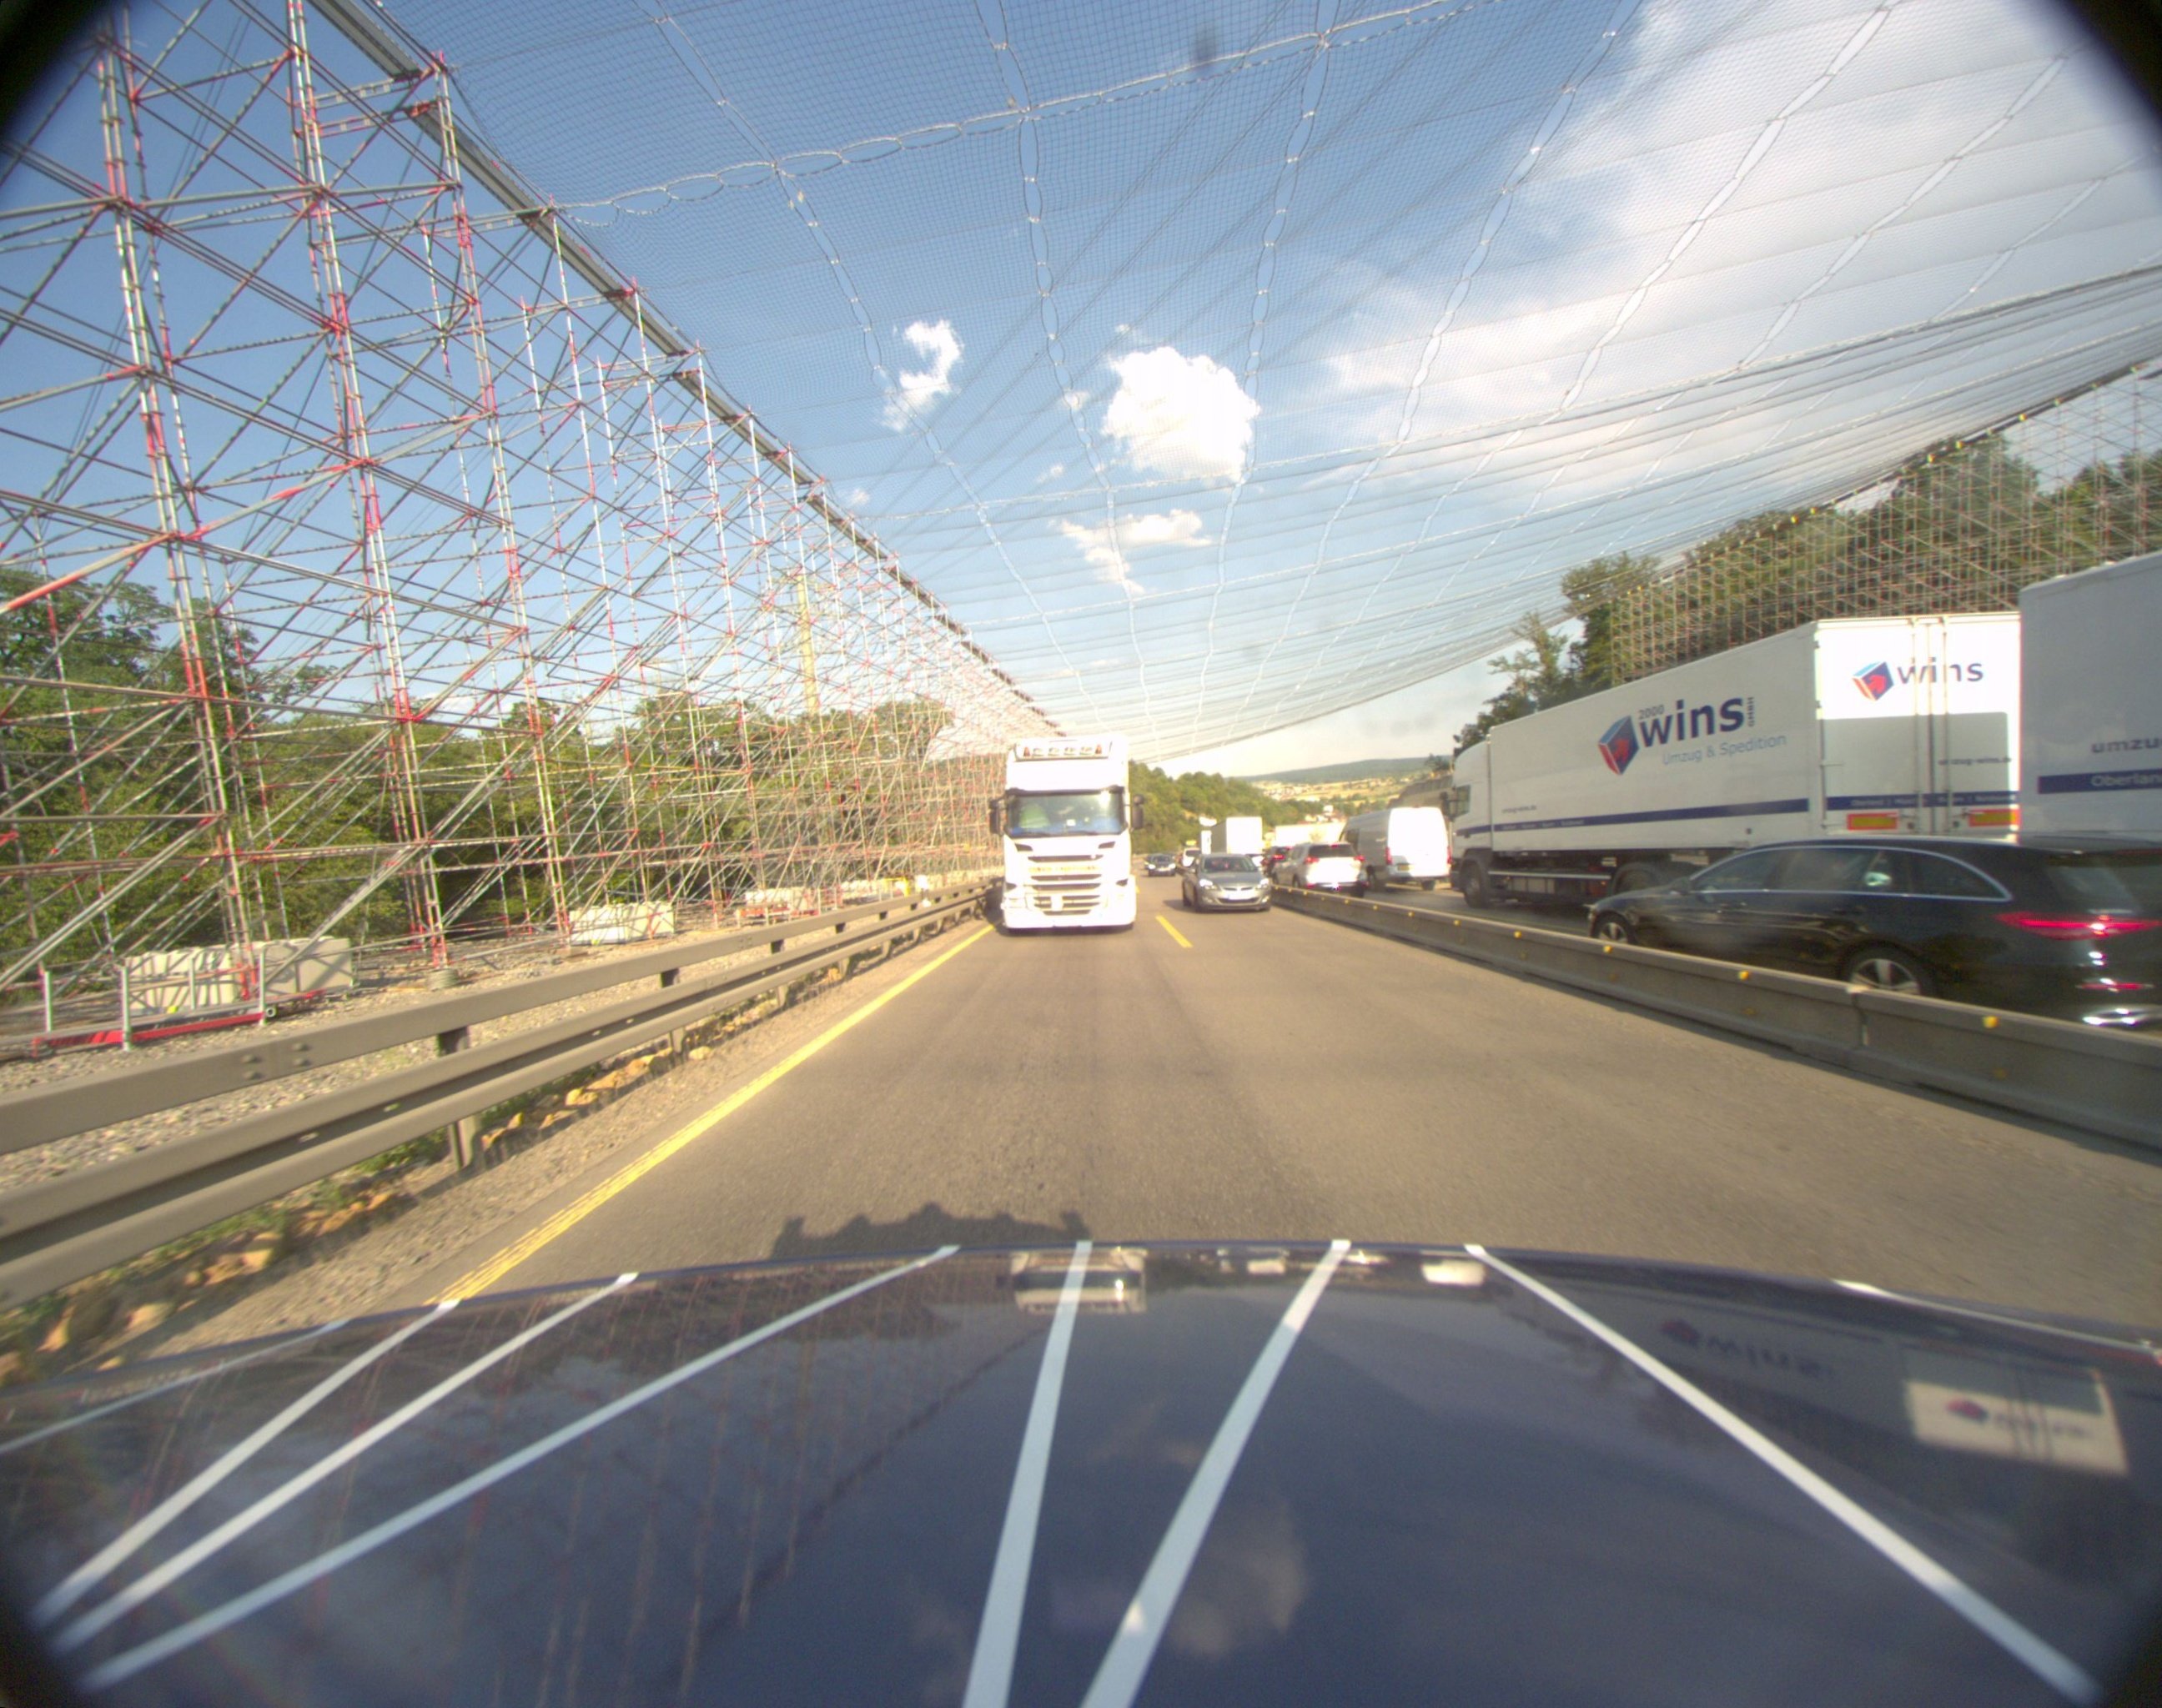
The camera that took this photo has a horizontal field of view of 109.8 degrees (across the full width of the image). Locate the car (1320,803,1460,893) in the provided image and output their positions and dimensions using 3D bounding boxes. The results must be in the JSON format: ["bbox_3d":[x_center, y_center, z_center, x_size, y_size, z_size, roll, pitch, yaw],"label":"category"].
[{"bbox_3d":[10.626,-0.201,26.925,2.247,2.697,7.082,-2,0,2],"label":"car"}]

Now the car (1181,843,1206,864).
[{"bbox_3d":[10.478,-0.100,71.162,1.812,1.858,5.282,-2,0,4],"label":"car"}]

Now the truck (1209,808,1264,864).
[{"bbox_3d":[13.010,-1.427,64.758,2.727,4.202,14.171,-2,0,5],"label":"truck"}]

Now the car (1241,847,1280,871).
[{"bbox_3d":[12.370,0.322,52.515,1.796,1.531,4.910,-2,0,4],"label":"car"}]

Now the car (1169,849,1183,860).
[{"bbox_3d":[13.857,0.013,110.739,1.938,1.510,4.980,-2,0,6],"label":"car"}]

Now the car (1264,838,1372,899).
[{"bbox_3d":[6.809,0.376,22.315,1.813,1.559,4.365,-2,0,1],"label":"car"}]

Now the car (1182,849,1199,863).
[{"bbox_3d":[12.542,0.203,87.115,1.585,1.543,4.219,-2,0,4],"label":"car"}]

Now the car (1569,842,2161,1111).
[{"bbox_3d":[6.619,0.661,6.556,1.782,1.442,4.663,-2,0,0],"label":"car"}]

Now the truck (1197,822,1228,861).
[{"bbox_3d":[17.110,-1.563,99.745,2.993,4.532,17.414,-2,0,7],"label":"truck"}]

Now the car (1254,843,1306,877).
[{"bbox_3d":[11.078,0.297,42.600,1.828,1.717,4.937,-2,0,3],"label":"car"}]

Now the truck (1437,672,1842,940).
[{"bbox_3d":[10.002,-0.730,14.902,2.637,3.887,7.204,-2,1,1],"label":"truck"}]

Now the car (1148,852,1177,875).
[{"bbox_3d":[5.281,0.593,49.592,1.764,1.376,3.824,-2,0,5],"label":"car"}]

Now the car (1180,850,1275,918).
[{"bbox_3d":[3.607,0.669,19.389,1.760,1.464,4.353,-2,0,3],"label":"car"}]

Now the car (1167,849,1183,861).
[{"bbox_3d":[12.616,0.109,102.241,1.939,1.525,4.646,-2,0,4],"label":"car"}]

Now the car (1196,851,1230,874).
[{"bbox_3d":[9.080,0.536,52.547,1.812,1.411,4.519,-2,0,3],"label":"car"}]

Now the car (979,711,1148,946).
[{"bbox_3d":[-0.118,-0.478,17.662,2.858,4.092,8.281,-2,1,3],"label":"car"}]

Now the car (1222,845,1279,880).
[{"bbox_3d":[8.286,0.398,37.437,1.813,1.559,4.365,-2,0,1],"label":"car"}]

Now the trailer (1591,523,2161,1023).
[{"bbox_3d":[9.978,-0.677,6.149,2.676,3.992,13.331,-2,0,0],"label":"trailer"}]
